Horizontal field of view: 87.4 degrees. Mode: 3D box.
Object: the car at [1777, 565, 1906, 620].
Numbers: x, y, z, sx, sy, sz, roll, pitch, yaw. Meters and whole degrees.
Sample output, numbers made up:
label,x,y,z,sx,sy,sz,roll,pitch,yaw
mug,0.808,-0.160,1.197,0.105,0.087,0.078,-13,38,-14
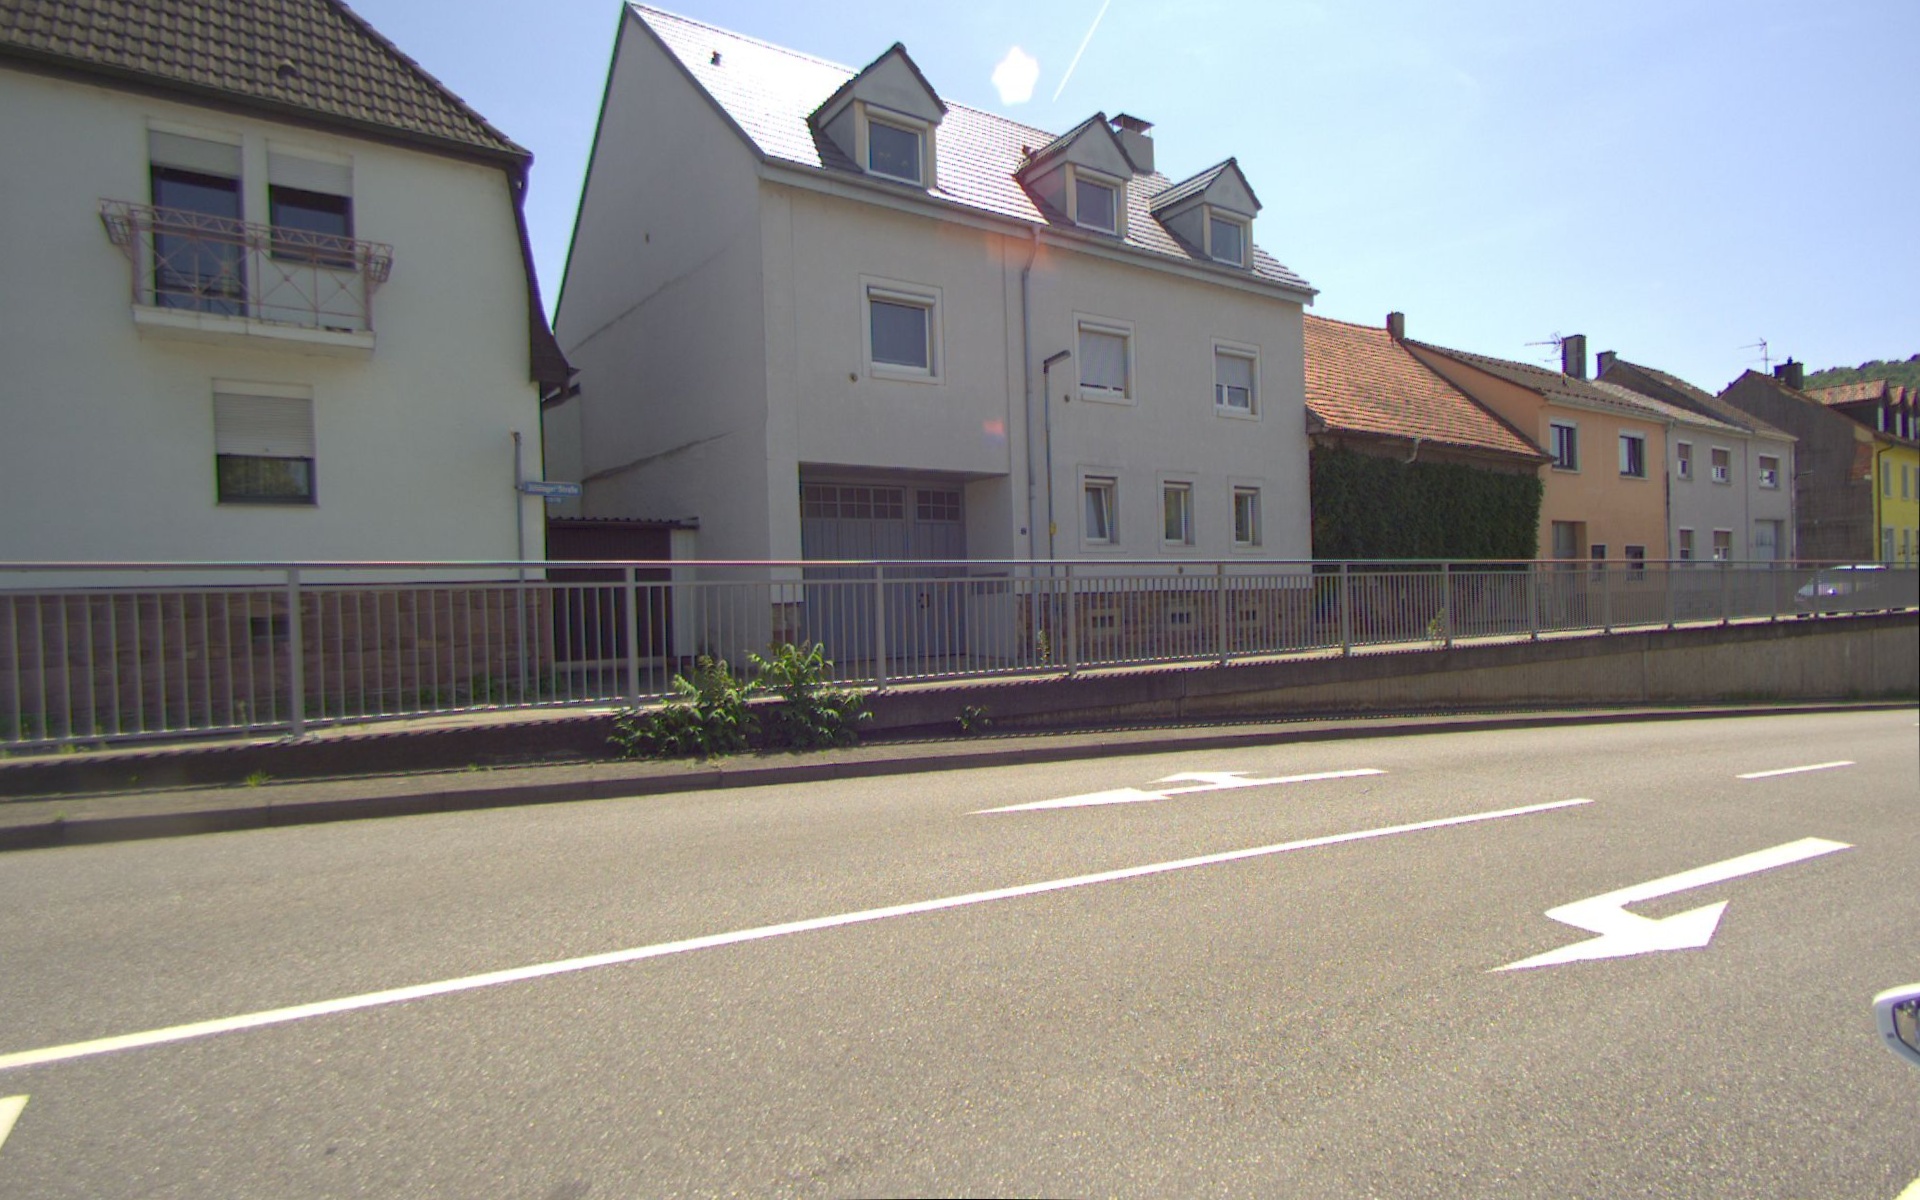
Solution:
label,x,y,z,sx,sy,sz,roll,pitch,yaw
car,25.728,-0.243,29.283,4.264,1.482,1.802,-2,2,-34
